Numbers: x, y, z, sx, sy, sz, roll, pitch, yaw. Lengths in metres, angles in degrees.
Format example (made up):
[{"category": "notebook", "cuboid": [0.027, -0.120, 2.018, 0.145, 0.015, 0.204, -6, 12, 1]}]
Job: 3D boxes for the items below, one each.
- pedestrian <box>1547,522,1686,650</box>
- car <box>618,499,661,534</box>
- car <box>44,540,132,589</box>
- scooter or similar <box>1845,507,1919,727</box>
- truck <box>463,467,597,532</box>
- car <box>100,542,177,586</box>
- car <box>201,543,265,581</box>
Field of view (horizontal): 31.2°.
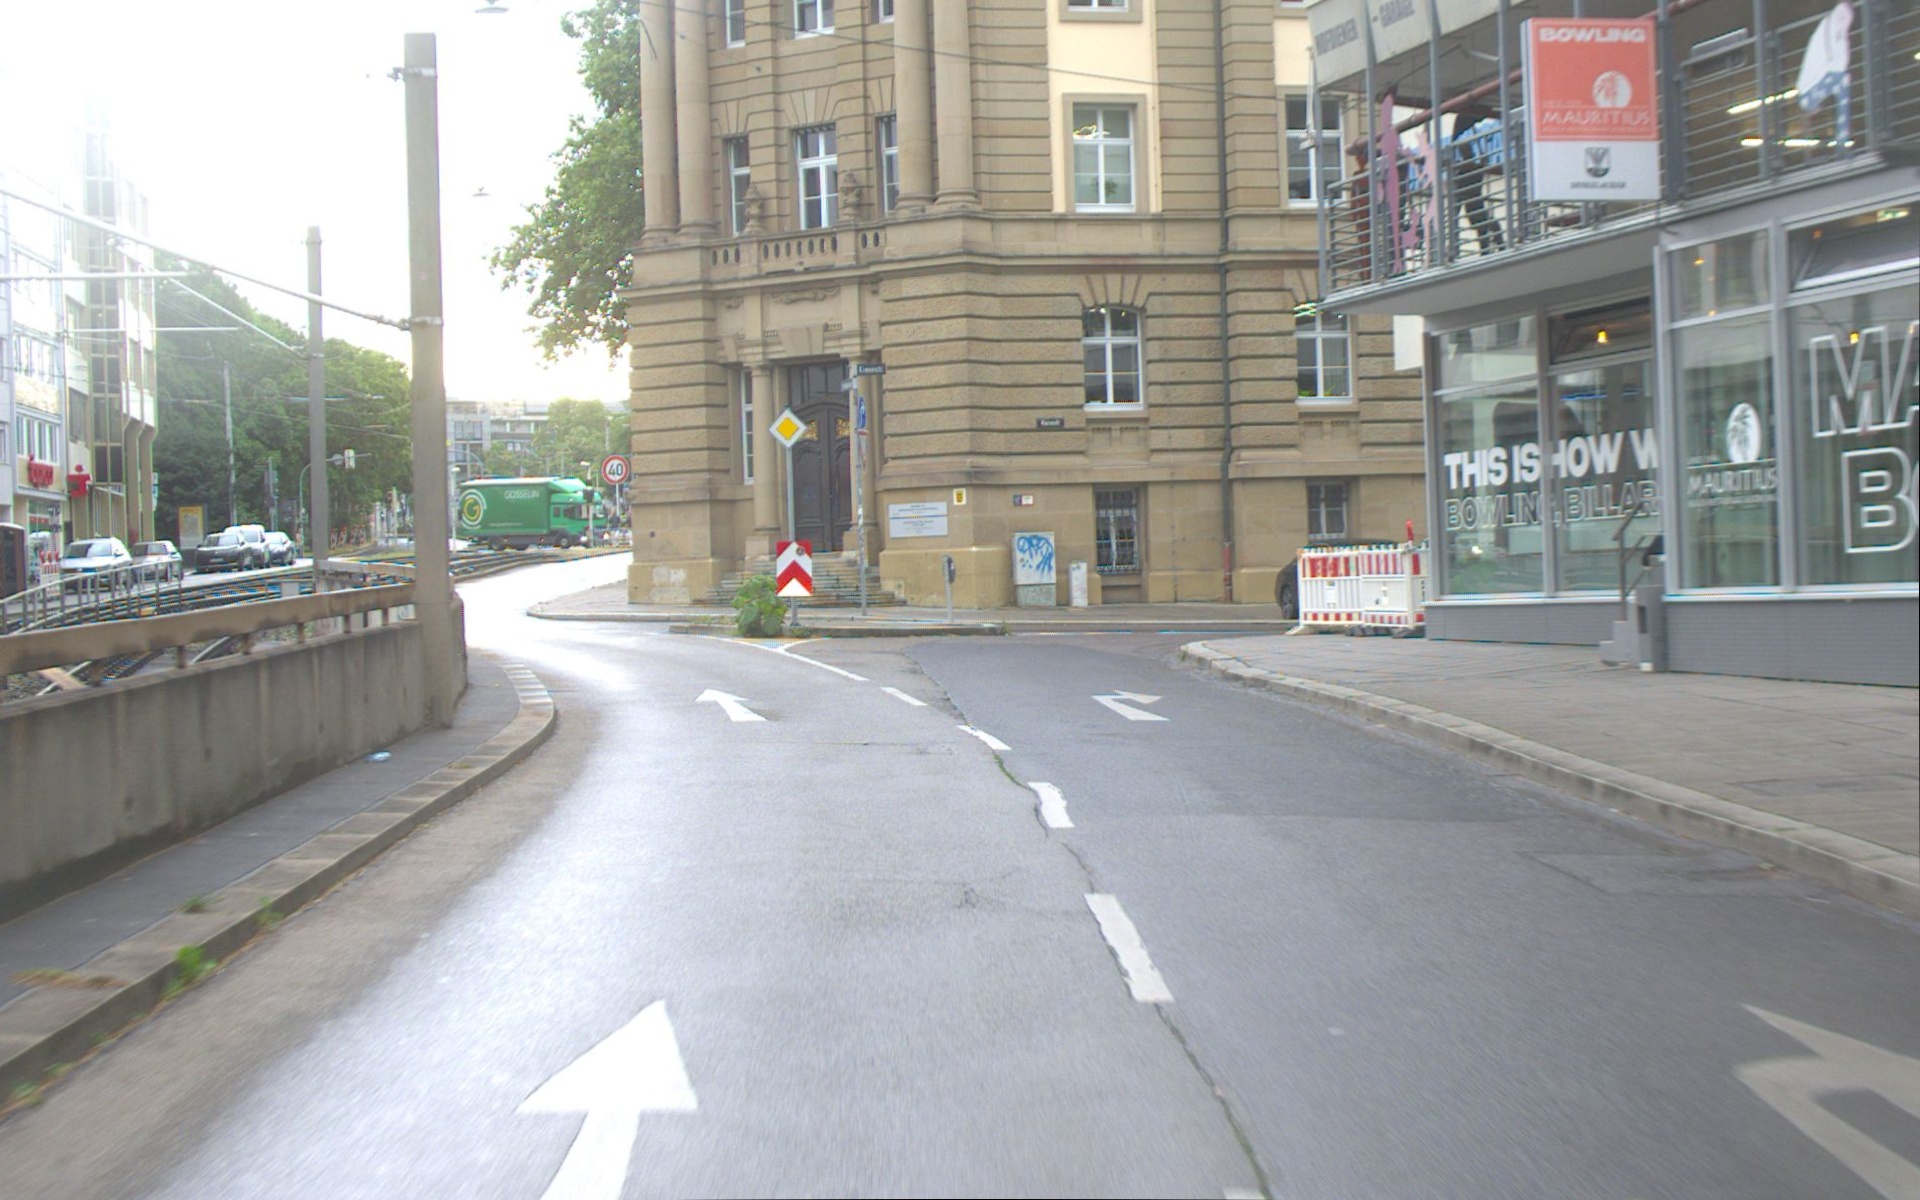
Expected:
[{"category": "pedestrian", "cuboid": [5.878, -0.135, 30.832, 0.752, 1.119, 1.247, -1, 1, -14]}, {"category": "car", "cuboid": [-15.407, -4.003, 165.259, 1.993, 1.656, 4.001, 0, 1, -5]}, {"category": "car", "cuboid": [-26.914, -1.115, 106.245, 1.993, 1.451, 4.312, 0, 1, -6]}, {"category": "scooter or similar", "cuboid": [6.185, 0.060, 20.466, 1.635, 1.263, 0.743, -3, 2, -25]}, {"category": "truck", "cuboid": [-23.194, -5.437, 185.284, 7.919, 3.375, 1.996, 2, 1, 36]}, {"category": "car", "cuboid": [-28.312, -1.249, 118.557, 1.993, 1.451, 4.312, 0, 1, -6]}, {"category": "car", "cuboid": [-28.584, -1.523, 135.298, 1.993, 1.451, 4.312, 0, 1, -6]}]
